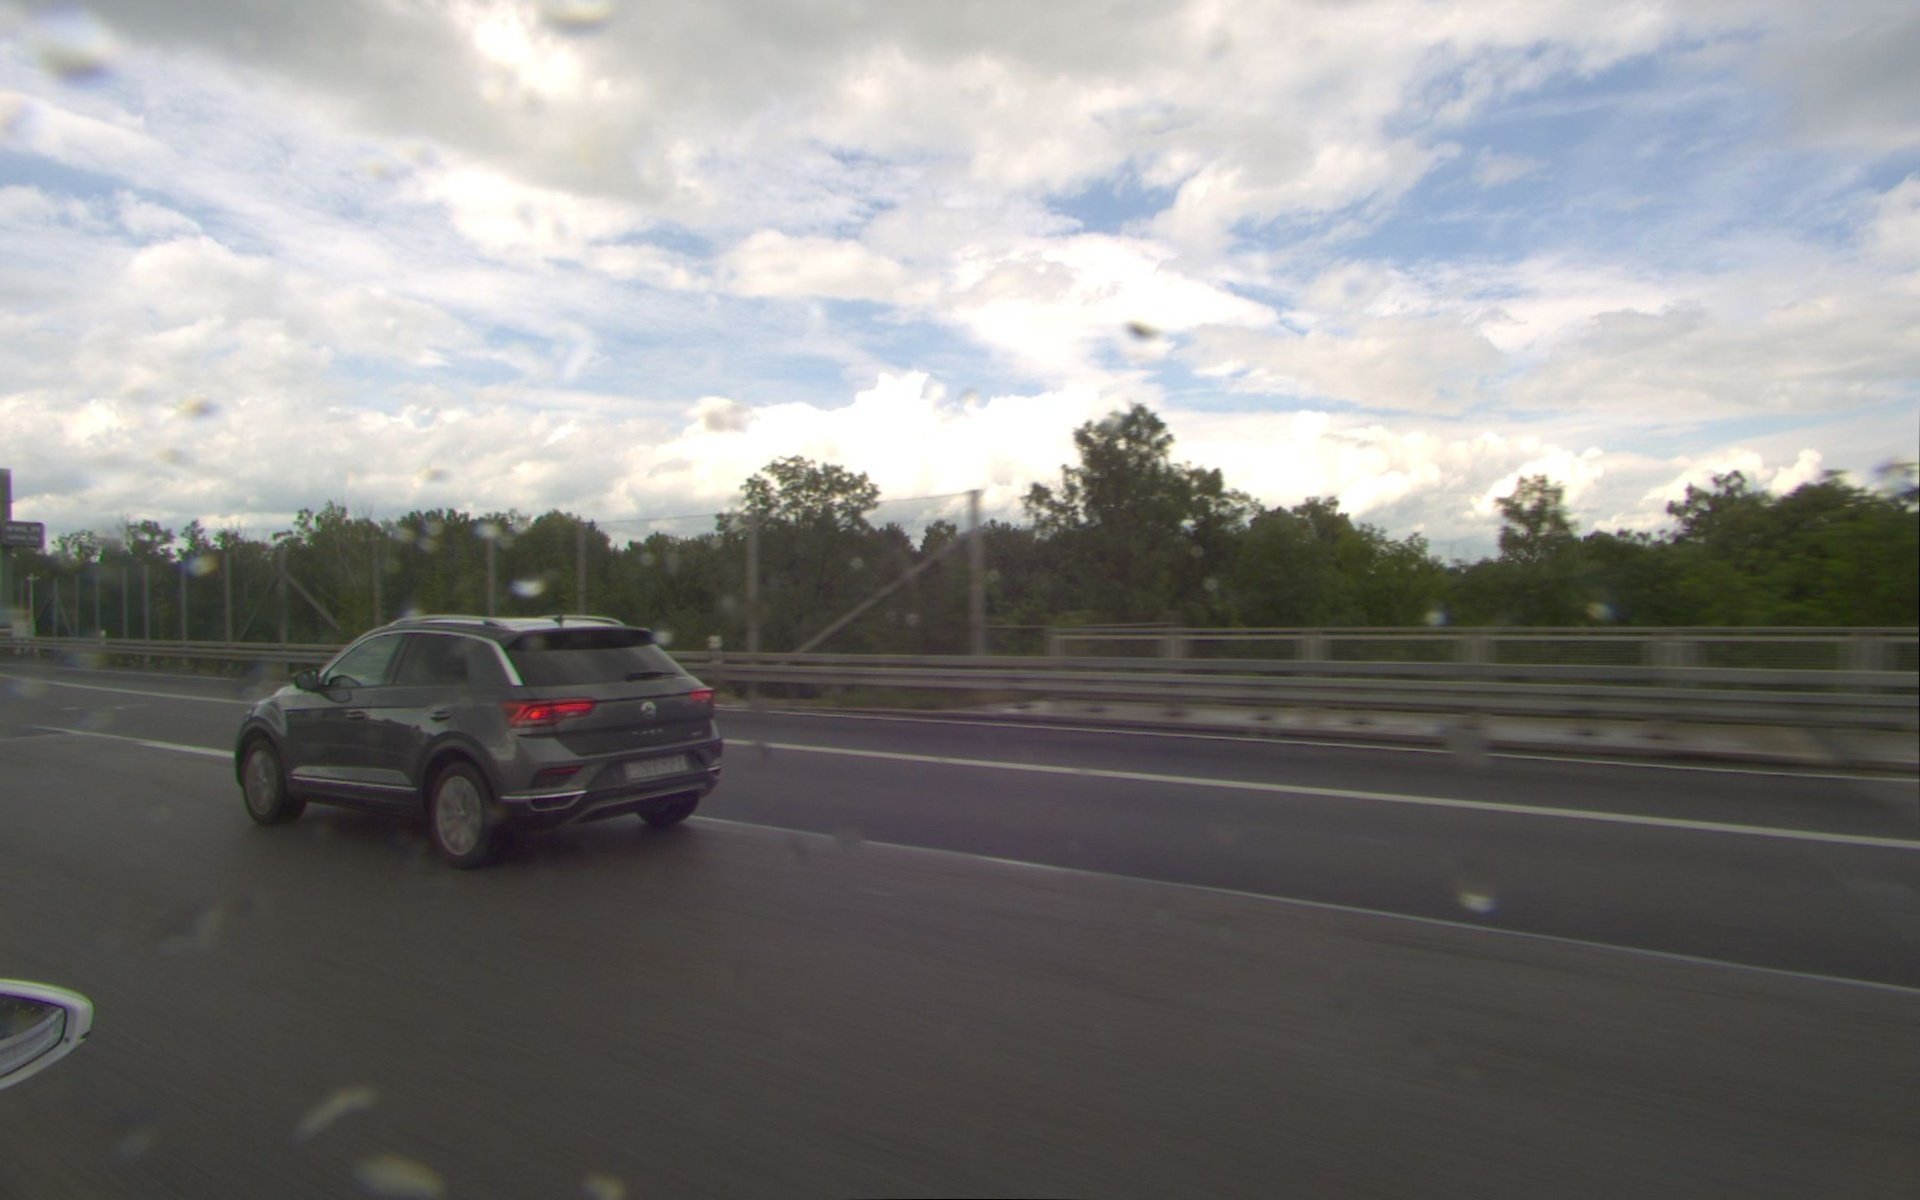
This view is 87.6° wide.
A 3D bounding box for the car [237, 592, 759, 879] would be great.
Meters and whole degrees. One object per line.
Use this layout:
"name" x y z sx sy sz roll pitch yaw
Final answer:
"car" -3.425 0.768 7.280 3.669 1.583 1.788 0 -1 33
